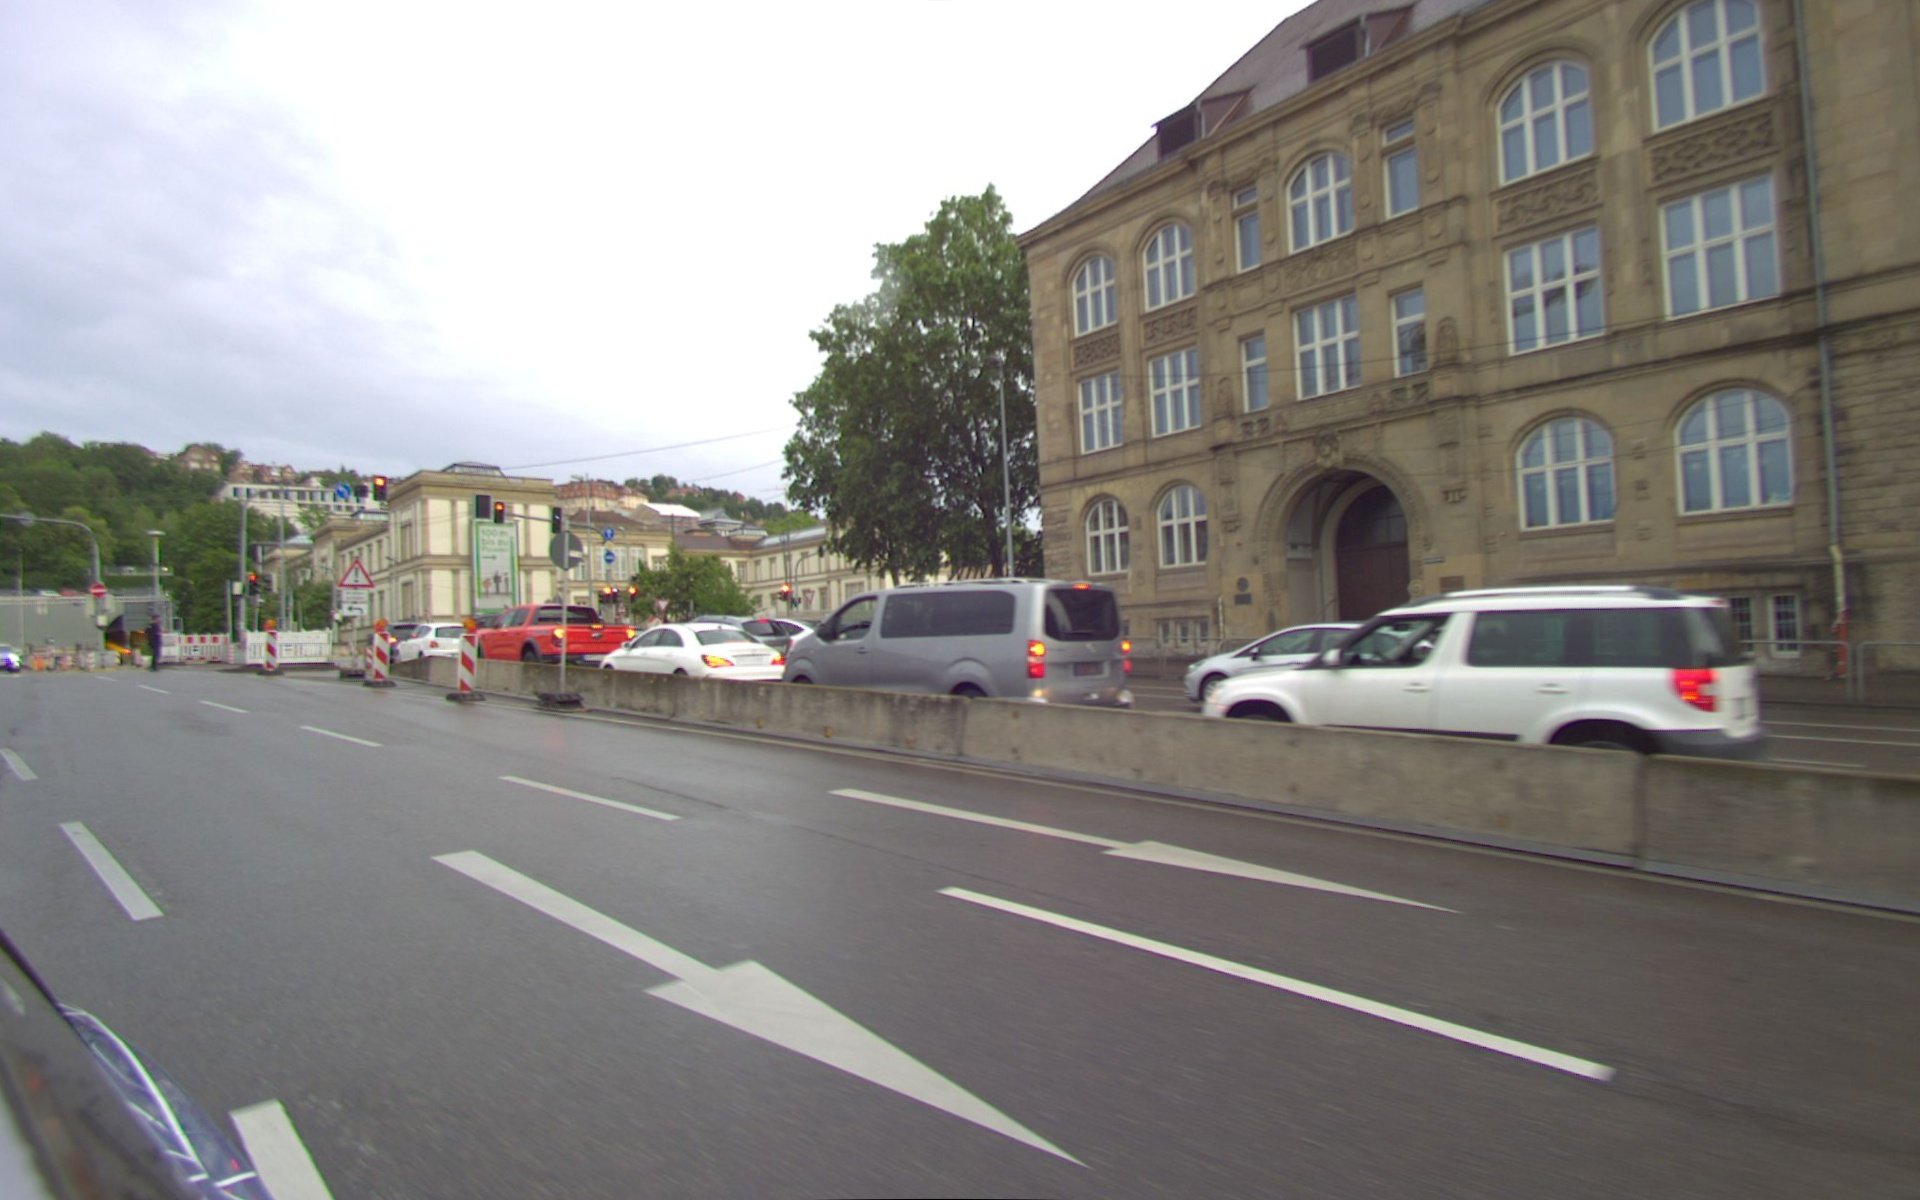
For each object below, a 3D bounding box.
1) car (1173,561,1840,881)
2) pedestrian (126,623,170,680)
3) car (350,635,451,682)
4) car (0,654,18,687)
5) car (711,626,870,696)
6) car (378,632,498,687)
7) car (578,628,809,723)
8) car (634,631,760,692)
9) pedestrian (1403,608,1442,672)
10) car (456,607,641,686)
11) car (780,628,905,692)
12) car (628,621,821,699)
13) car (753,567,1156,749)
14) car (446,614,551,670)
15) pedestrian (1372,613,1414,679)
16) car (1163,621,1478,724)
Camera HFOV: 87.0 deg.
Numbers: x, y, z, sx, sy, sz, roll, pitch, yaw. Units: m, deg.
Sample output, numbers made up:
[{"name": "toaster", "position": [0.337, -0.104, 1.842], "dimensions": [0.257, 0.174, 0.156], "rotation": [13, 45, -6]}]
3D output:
[{"name": "car", "position": [4.111, 0.784, 8.206], "dimensions": [1.886, 1.880, 4.382], "rotation": [2, -3, -43]}, {"name": "pedestrian", "position": [-25.369, 1.601, 31.612], "dimensions": [0.757, 1.723, 0.777], "rotation": [-1, -2, 24]}, {"name": "car", "position": [-18.843, 1.914, 33.976], "dimensions": [1.970, 1.482, 4.351], "rotation": [2, -3, -43]}, {"name": "car", "position": [-49.807, 3.605, 51.769], "dimensions": [3.998, 1.582, 1.973], "rotation": [-2, -3, 41]}, {"name": "car", "position": [-4.436, 1.527, 26.283], "dimensions": [3.997, 1.664, 1.973], "rotation": [-2, -3, 40]}, {"name": "car", "position": [-15.430, 1.703, 29.791], "dimensions": [1.970, 1.482, 4.566], "rotation": [2, -3, -43]}, {"name": "car", "position": [-4.994, 1.291, 18.542], "dimensions": [1.970, 1.513, 4.825], "rotation": [2, -3, -44]}, {"name": "car", "position": [-8.154, 1.835, 31.263], "dimensions": [3.997, 1.763, 1.824], "rotation": [-2, -3, 40]}, {"name": "pedestrian", "position": [11.627, 1.006, 25.456], "dimensions": [0.734, 1.596, 0.610], "rotation": [-2, -3, 41]}, {"name": "car", "position": [-9.436, 1.026, 22.961], "dimensions": [1.970, 1.579, 5.385], "rotation": [2, -3, -45]}, {"name": "car", "position": [-3.970, 1.964, 33.917], "dimensions": [3.997, 2.029, 1.973], "rotation": [-2, -3, 40]}, {"name": "car", "position": [-5.626, 1.368, 23.942], "dimensions": [4.607, 1.660, 1.975], "rotation": [-2, -3, 37]}, {"name": "car", "position": [-0.340, 0.696, 13.186], "dimensions": [1.970, 1.880, 5.600], "rotation": [2, -3, -43]}, {"name": "car", "position": [-16.139, 1.454, 35.273], "dimensions": [1.970, 1.808, 4.619], "rotation": [2, -3, -43]}, {"name": "pedestrian", "position": [10.663, 1.117, 24.924], "dimensions": [0.609, 1.596, 0.736], "rotation": [2, -3, -42]}, {"name": "car", "position": [5.535, 1.060, 15.858], "dimensions": [4.211, 1.393, 1.972], "rotation": [-2, -3, 43]}]
